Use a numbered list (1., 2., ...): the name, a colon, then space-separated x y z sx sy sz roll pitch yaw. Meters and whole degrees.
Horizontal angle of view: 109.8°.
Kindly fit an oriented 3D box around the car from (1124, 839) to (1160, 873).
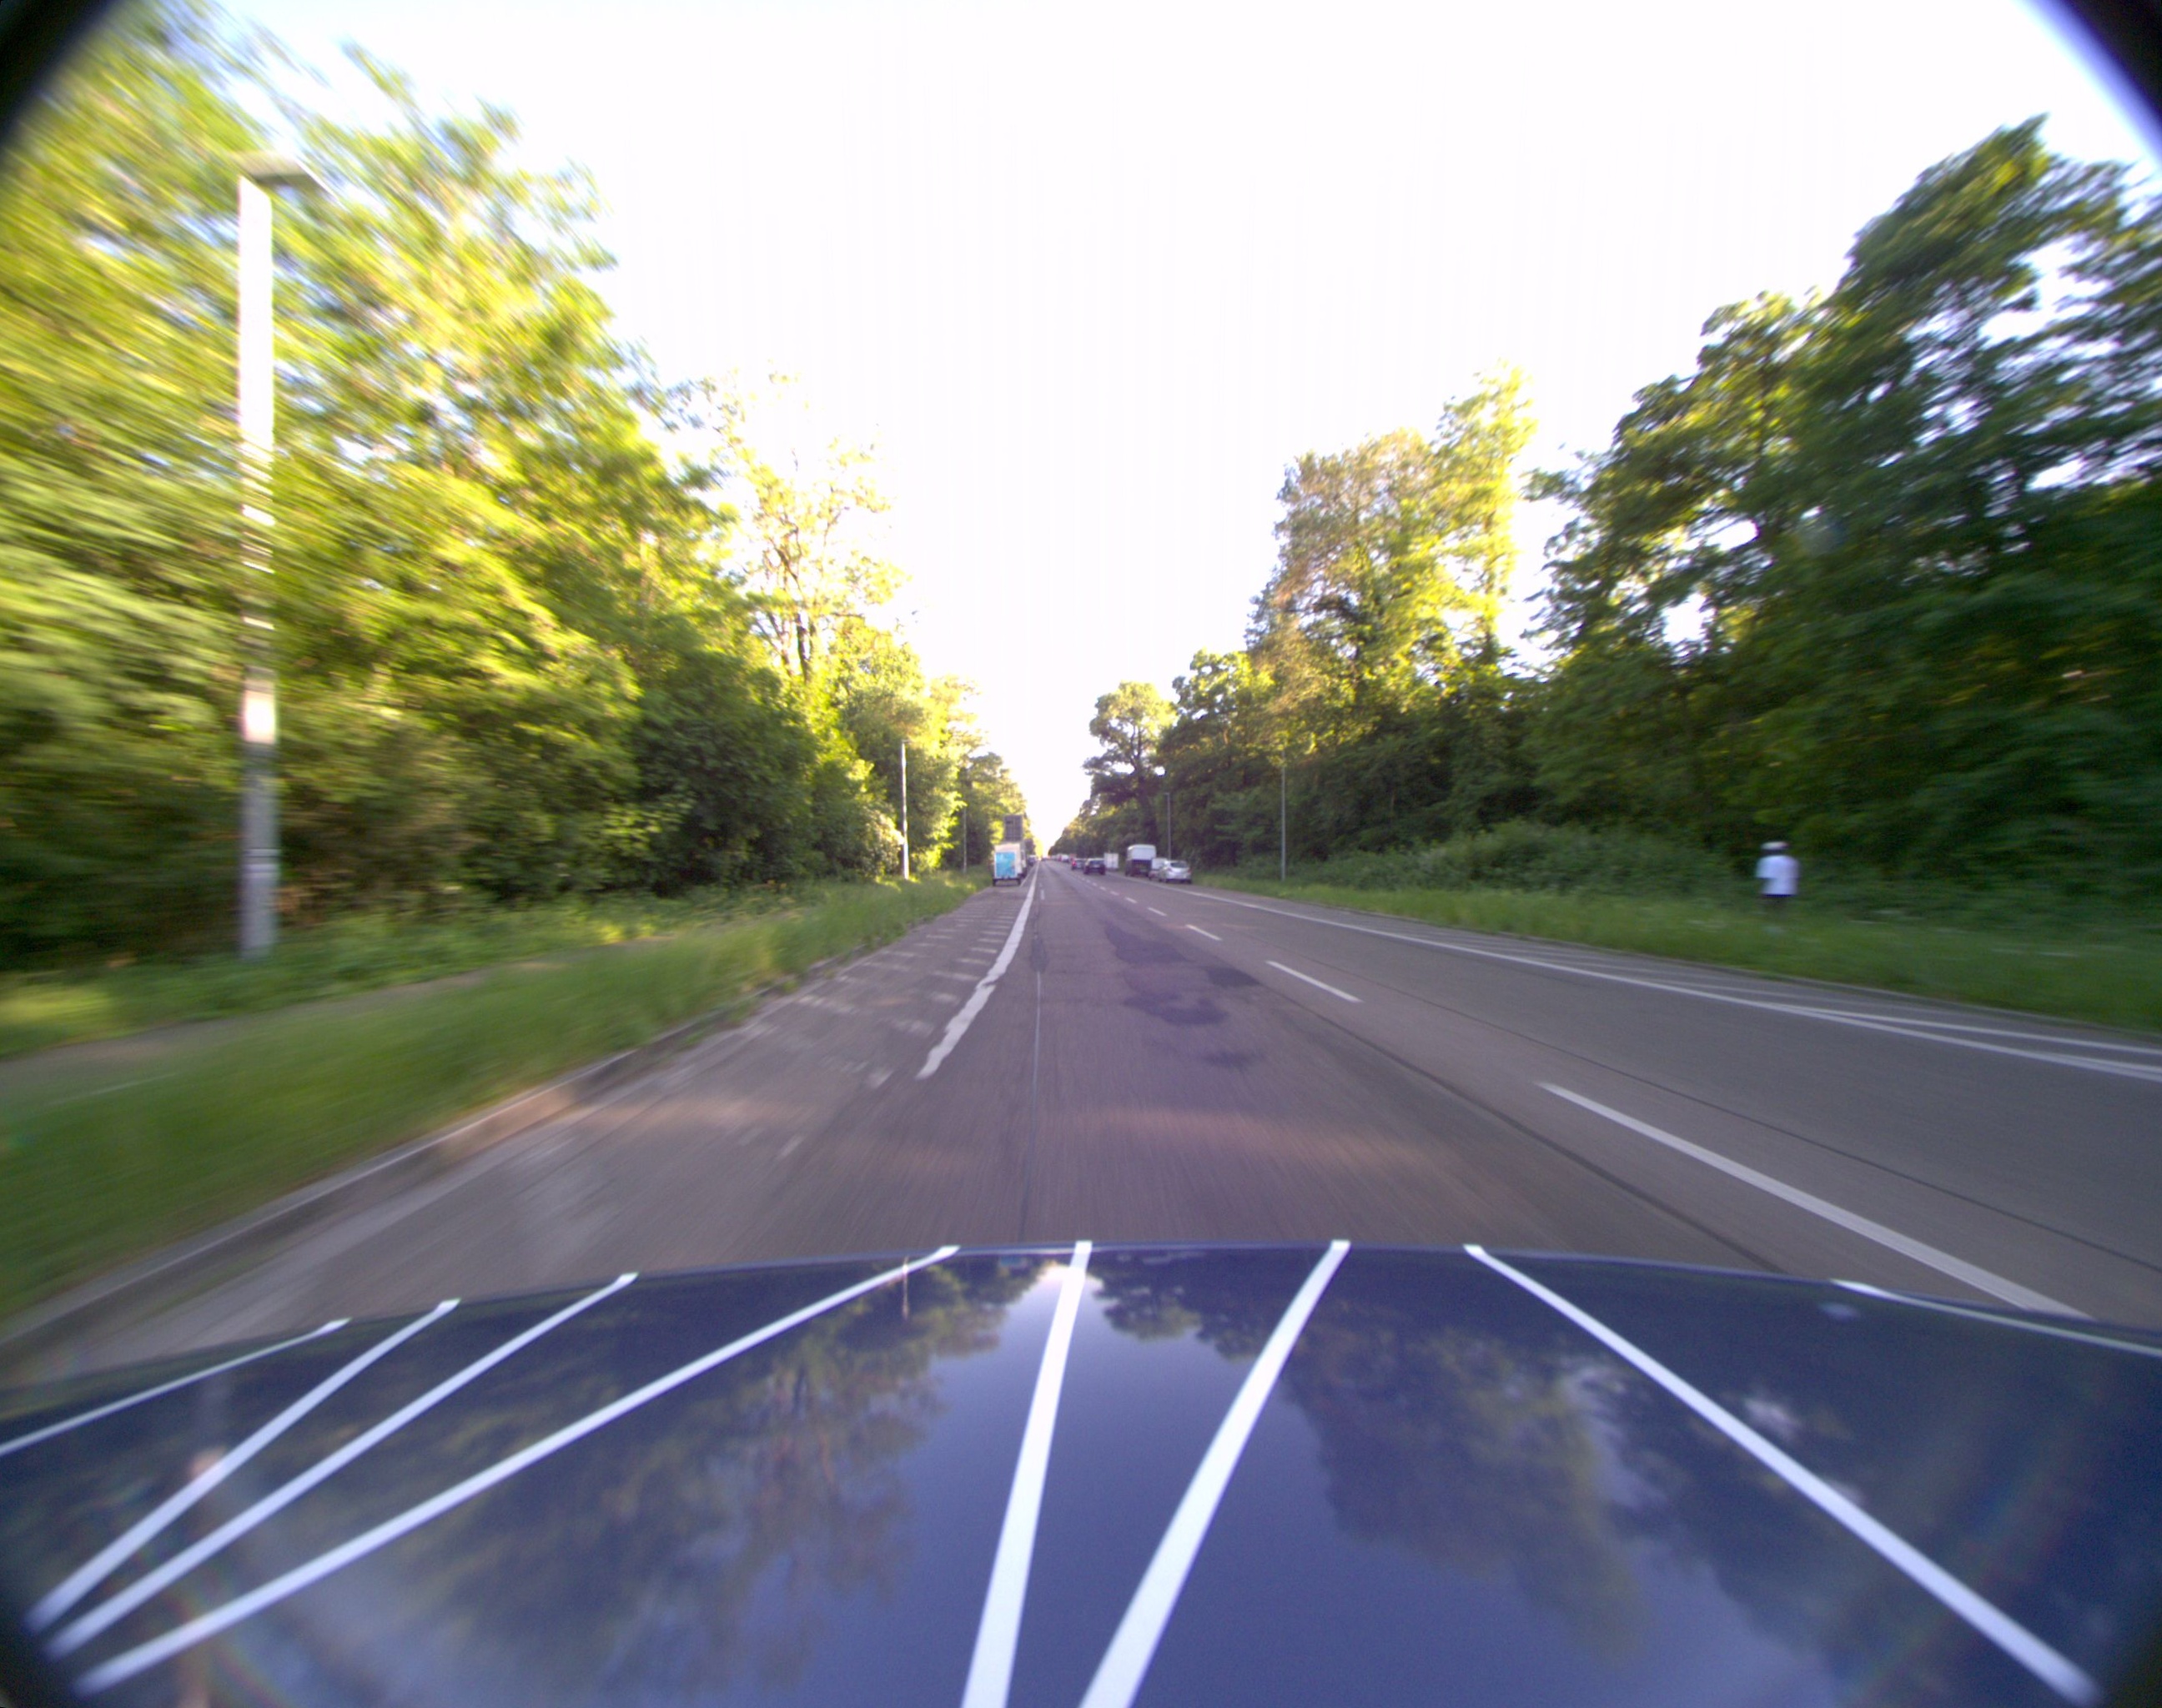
1. car: 5.346 0.124 66.858 2.461 2.831 4.796 0 1 -4

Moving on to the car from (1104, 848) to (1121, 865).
1. car: 4.087 0.339 98.685 1.692 2.089 4.630 0 1 -4

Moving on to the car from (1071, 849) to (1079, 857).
1. car: -1.642 -0.365 205.181 1.999 2.002 3.998 -2 0 -5

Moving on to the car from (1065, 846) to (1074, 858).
1. car: -3.512 -0.534 232.947 2.280 3.481 5.498 -3 0 0

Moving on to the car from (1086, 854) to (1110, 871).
1. car: 1.536 0.786 71.293 1.915 1.455 4.355 0 1 -4

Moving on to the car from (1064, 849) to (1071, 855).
1. car: -4.409 -0.596 251.559 2.095 1.925 3.999 -1 1 -1

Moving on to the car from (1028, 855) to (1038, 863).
1. car: -9.127 0.982 143.536 1.898 1.455 3.911 0 1 -4

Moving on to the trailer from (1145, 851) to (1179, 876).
1. trailer: 5.766 0.663 54.628 1.807 1.719 3.646 0 1 -4

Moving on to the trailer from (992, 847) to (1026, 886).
1. trailer: -4.403 0.716 46.691 1.870 2.165 4.127 -2 1 -4

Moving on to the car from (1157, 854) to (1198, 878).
1. car: 6.248 0.770 49.561 1.915 1.455 4.010 0 1 -4

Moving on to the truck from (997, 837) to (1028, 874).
1. truck: -6.238 0.050 70.090 2.707 3.219 7.125 0 1 -4

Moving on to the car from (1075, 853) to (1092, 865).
1. car: 0.288 0.595 94.360 1.807 1.455 3.911 0 1 -4

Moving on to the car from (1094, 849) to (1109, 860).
1. car: 2.977 0.107 111.139 1.807 1.496 3.911 0 1 -4

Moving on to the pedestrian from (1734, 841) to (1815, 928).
1. pedestrian: 12.728 0.543 13.969 0.713 1.556 0.826 0 1 0

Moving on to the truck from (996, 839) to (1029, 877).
1. truck: -5.513 0.255 62.147 2.390 2.855 5.596 -3 1 -4
